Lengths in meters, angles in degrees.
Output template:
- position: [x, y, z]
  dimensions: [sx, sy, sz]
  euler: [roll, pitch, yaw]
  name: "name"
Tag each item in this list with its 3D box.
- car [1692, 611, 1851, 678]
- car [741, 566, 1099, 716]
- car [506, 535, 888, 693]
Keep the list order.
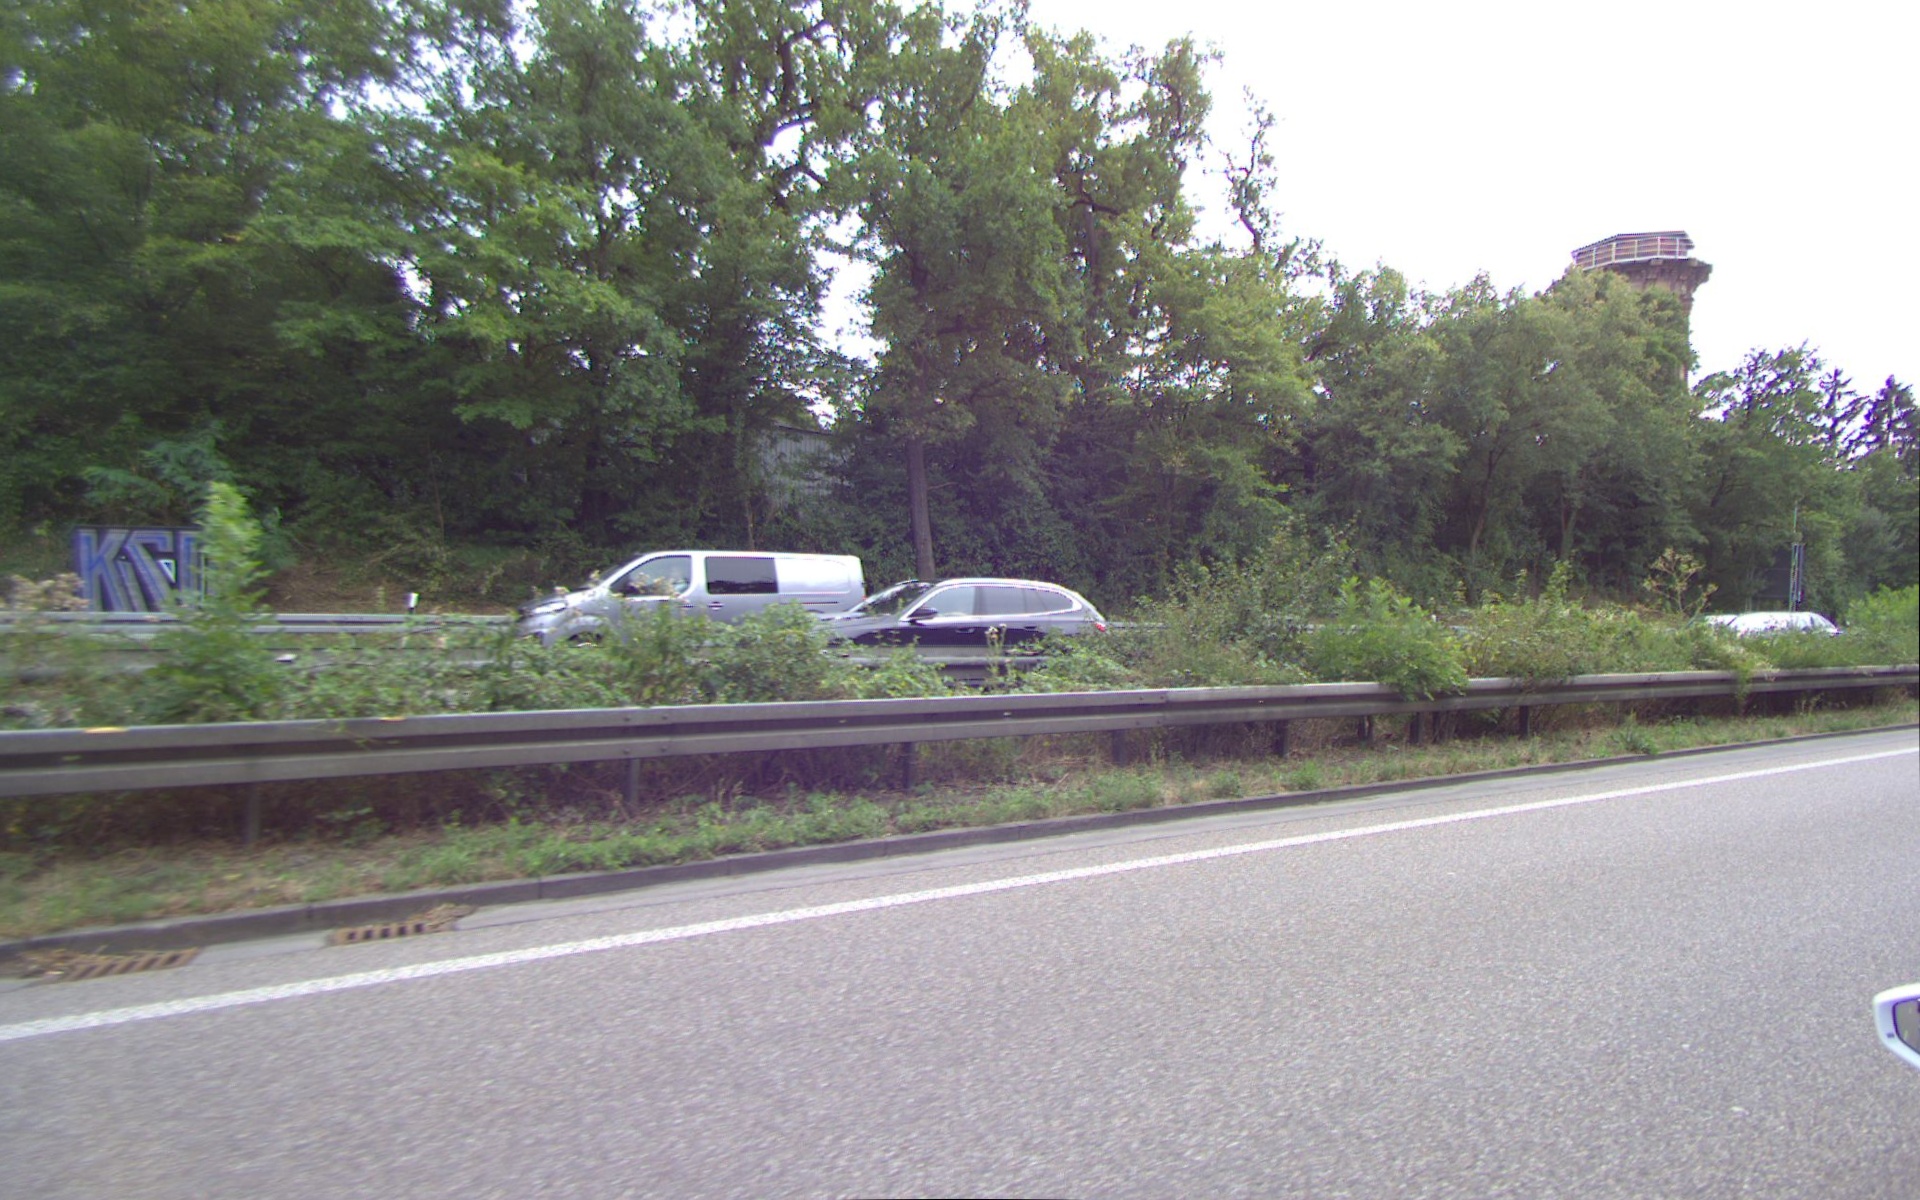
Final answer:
- position: [21.459, 1.154, 26.540]
  dimensions: [3.953, 1.632, 1.984]
  euler: [2, -1, -30]
  name: "car"
- position: [-0.450, 0.498, 12.624]
  dimensions: [4.133, 1.611, 1.794]
  euler: [2, -1, -31]
  name: "car"
- position: [-3.834, 0.247, 15.057]
  dimensions: [5.240, 2.040, 1.787]
  euler: [2, -1, -31]
  name: "car"
